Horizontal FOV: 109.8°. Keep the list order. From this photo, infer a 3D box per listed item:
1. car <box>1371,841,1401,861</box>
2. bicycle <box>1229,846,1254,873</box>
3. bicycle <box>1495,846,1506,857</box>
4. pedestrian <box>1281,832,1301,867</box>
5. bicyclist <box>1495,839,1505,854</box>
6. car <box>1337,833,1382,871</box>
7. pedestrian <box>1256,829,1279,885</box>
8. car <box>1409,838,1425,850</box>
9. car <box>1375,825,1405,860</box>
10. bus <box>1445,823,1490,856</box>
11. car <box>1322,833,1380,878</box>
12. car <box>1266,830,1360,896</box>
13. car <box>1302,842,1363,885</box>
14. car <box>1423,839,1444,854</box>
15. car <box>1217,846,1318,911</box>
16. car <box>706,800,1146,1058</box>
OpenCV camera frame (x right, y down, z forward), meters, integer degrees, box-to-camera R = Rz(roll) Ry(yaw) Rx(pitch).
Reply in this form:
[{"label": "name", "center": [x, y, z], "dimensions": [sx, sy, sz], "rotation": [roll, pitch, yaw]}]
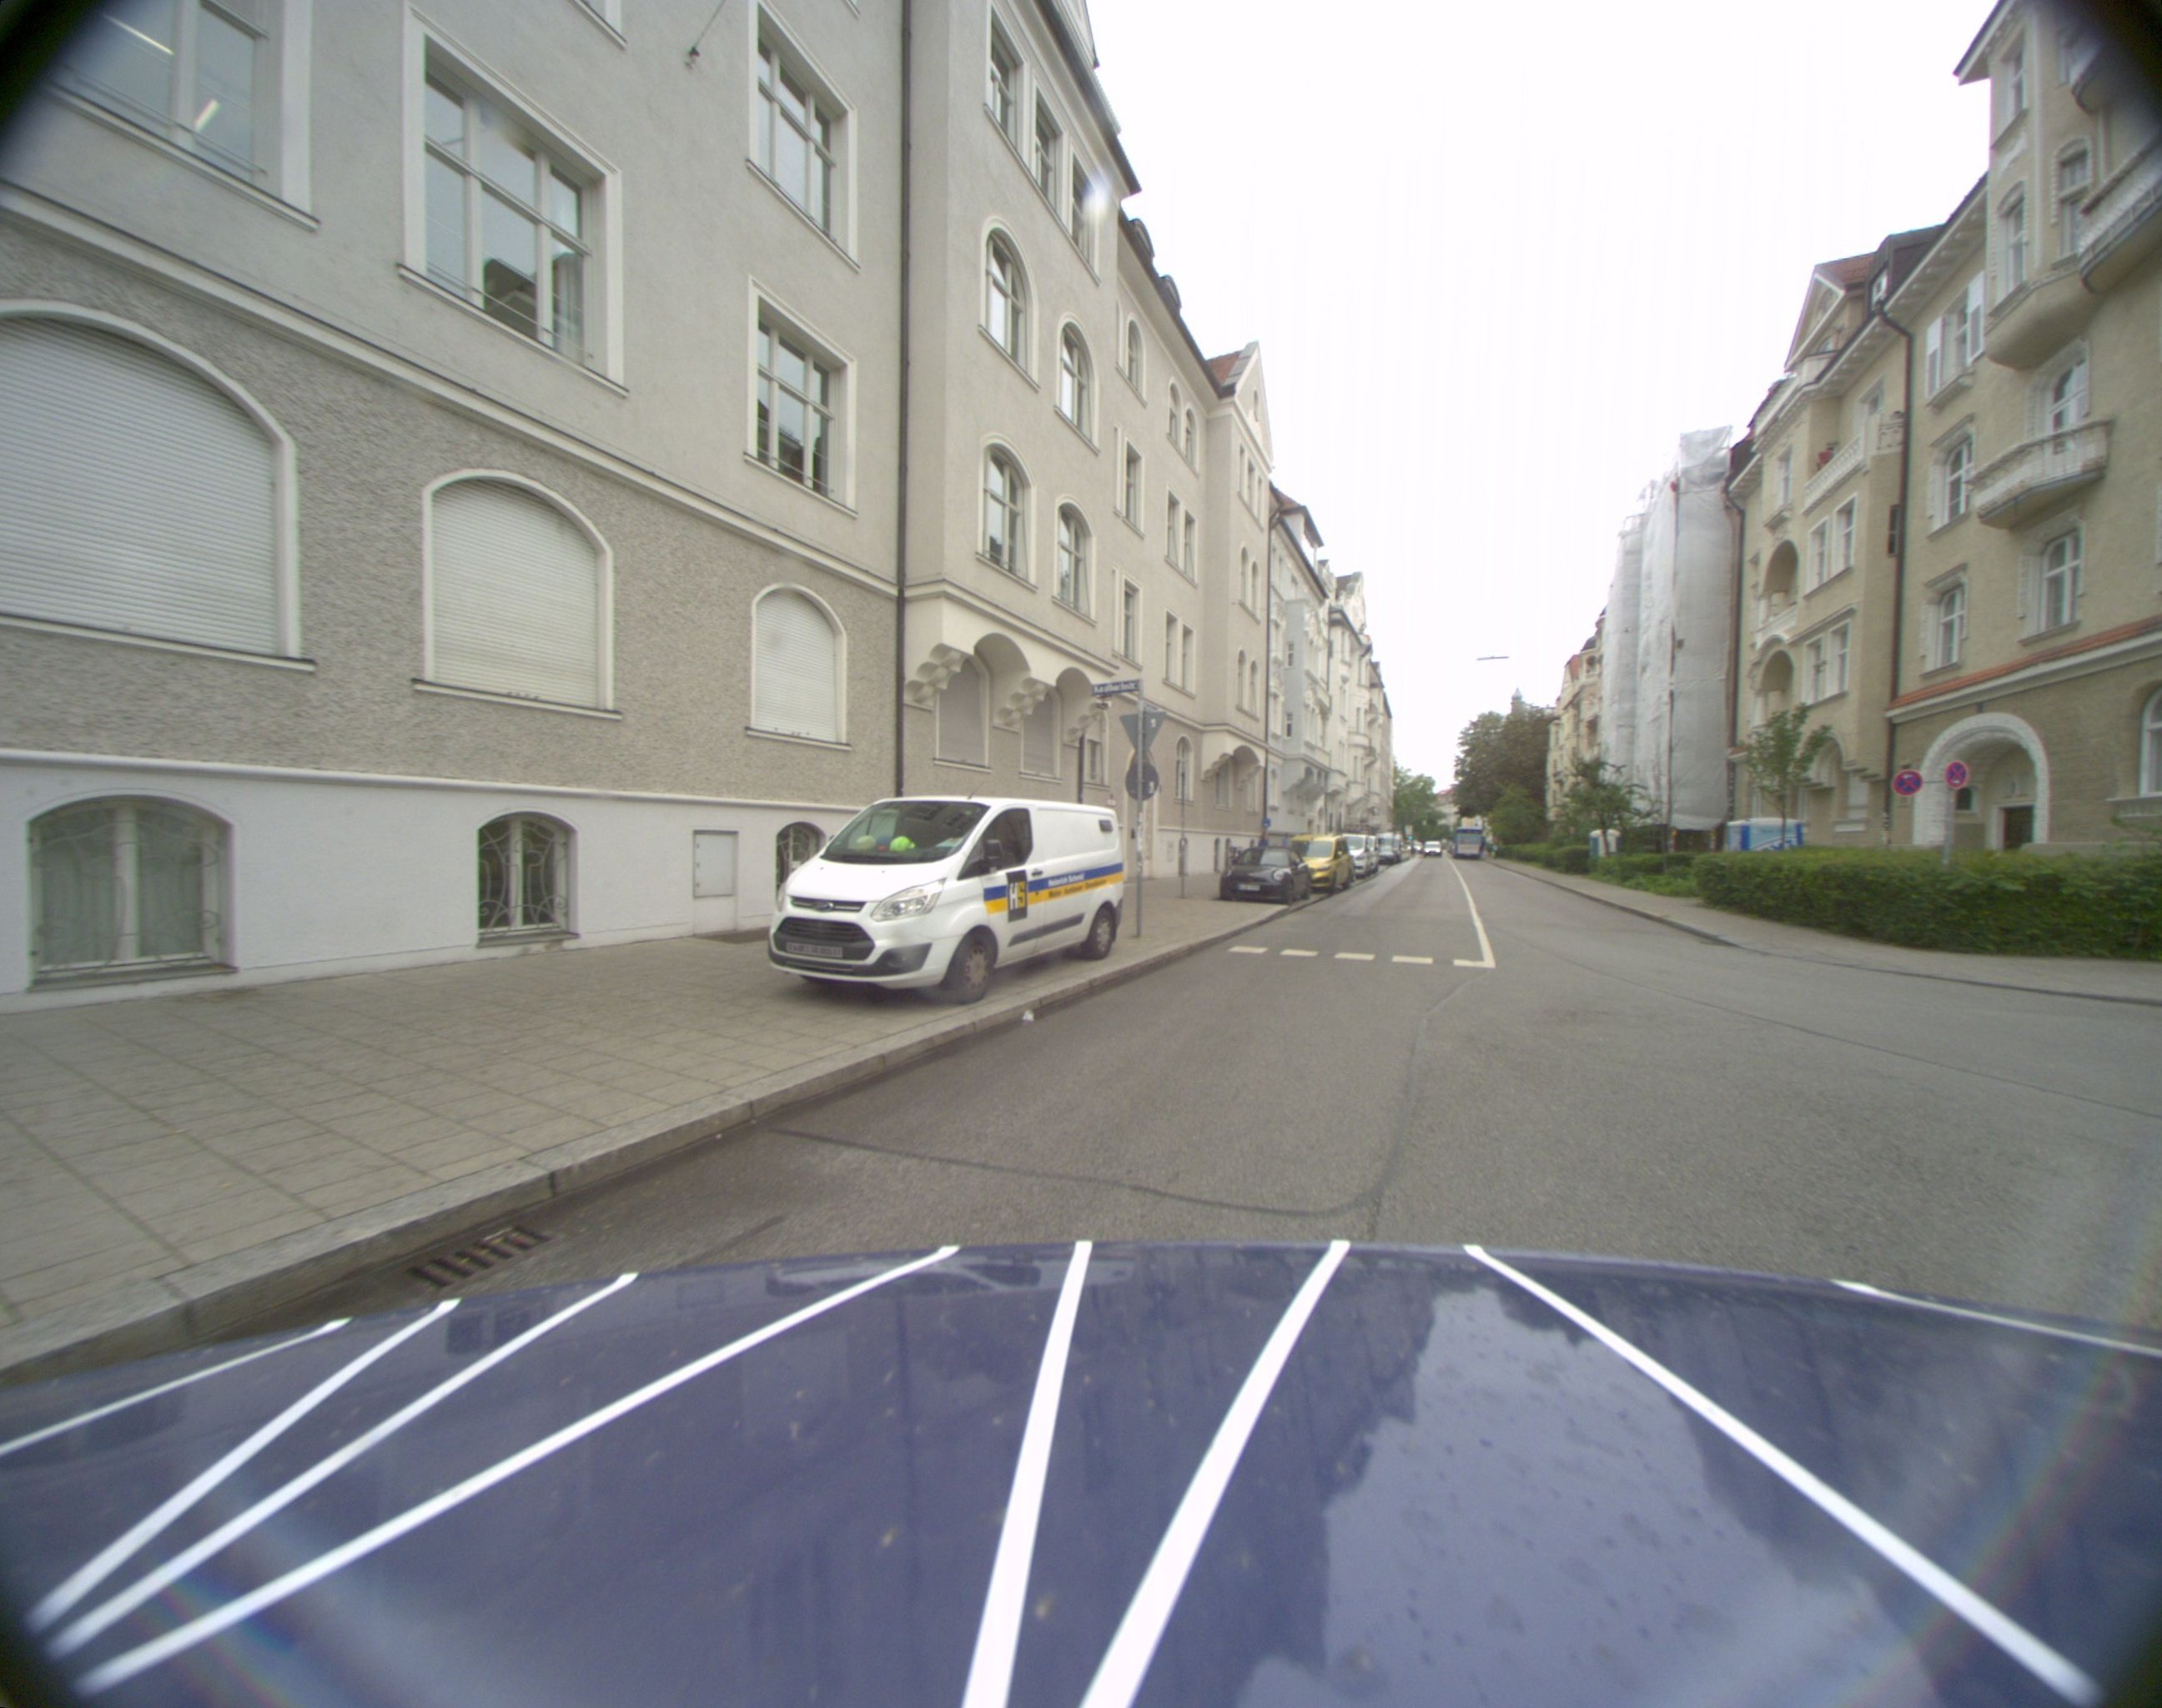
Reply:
[{"label": "car", "center": [22.952, -0.220, 57.098], "dimensions": [1.789, 1.400, 4.251], "rotation": [2, 2, 26]}, {"label": "bicycle", "center": [7.084, 0.217, 33.480], "dimensions": [0.666, 1.127, 1.725], "rotation": [2, 2, 27]}, {"label": "bicycle", "center": [42.134, -0.280, 76.351], "dimensions": [0.768, 1.075, 2.053], "rotation": [0, 1, 24]}, {"label": "pedestrian", "center": [11.391, -0.257, 41.171], "dimensions": [0.852, 1.892, 0.747], "rotation": [2, 2, 29]}, {"label": "bicyclist", "center": [42.111, -0.725, 76.323], "dimensions": [0.768, 1.484, 1.062], "rotation": [0, 1, 24]}, {"label": "car", "center": [14.847, -0.157, 40.340], "dimensions": [1.995, 1.907, 4.885], "rotation": [2, 2, 22]}, {"label": "pedestrian", "center": [6.808, 0.115, 27.716], "dimensions": [0.583, 2.002, 0.729], "rotation": [2, 2, 28]}, {"label": "car", "center": [48.917, -1.450, 110.633], "dimensions": [1.720, 1.623, 4.007], "rotation": [2, 2, 30]}, {"label": "car", "center": [25.490, -0.975, 62.776], "dimensions": [2.078, 2.674, 5.452], "rotation": [3, 2, 21]}, {"label": "bus", "center": [43.230, -1.705, 85.506], "dimensions": [3.173, 3.194, 18.084], "rotation": [3, 2, 23]}, {"label": "car", "center": [12.588, 0.000, 35.226], "dimensions": [1.995, 1.907, 4.894], "rotation": [2, 2, 26]}, {"label": "car", "center": [7.617, 0.202, 24.646], "dimensions": [1.994, 1.907, 4.579], "rotation": [2, 2, 28]}, {"label": "car", "center": [9.808, 0.319, 29.435], "dimensions": [1.634, 1.505, 3.892], "rotation": [1, 2, 27]}, {"label": "car", "center": [39.665, -0.865, 85.522], "dimensions": [1.915, 1.648, 4.608], "rotation": [2, 2, 23]}, {"label": "car", "center": [4.956, 0.551, 19.818], "dimensions": [1.713, 1.437, 3.834], "rotation": [2, 2, 26]}, {"label": "car", "center": [-1.167, 0.497, 8.513], "dimensions": [1.939, 1.911, 5.383], "rotation": [3, 2, 25]}]
